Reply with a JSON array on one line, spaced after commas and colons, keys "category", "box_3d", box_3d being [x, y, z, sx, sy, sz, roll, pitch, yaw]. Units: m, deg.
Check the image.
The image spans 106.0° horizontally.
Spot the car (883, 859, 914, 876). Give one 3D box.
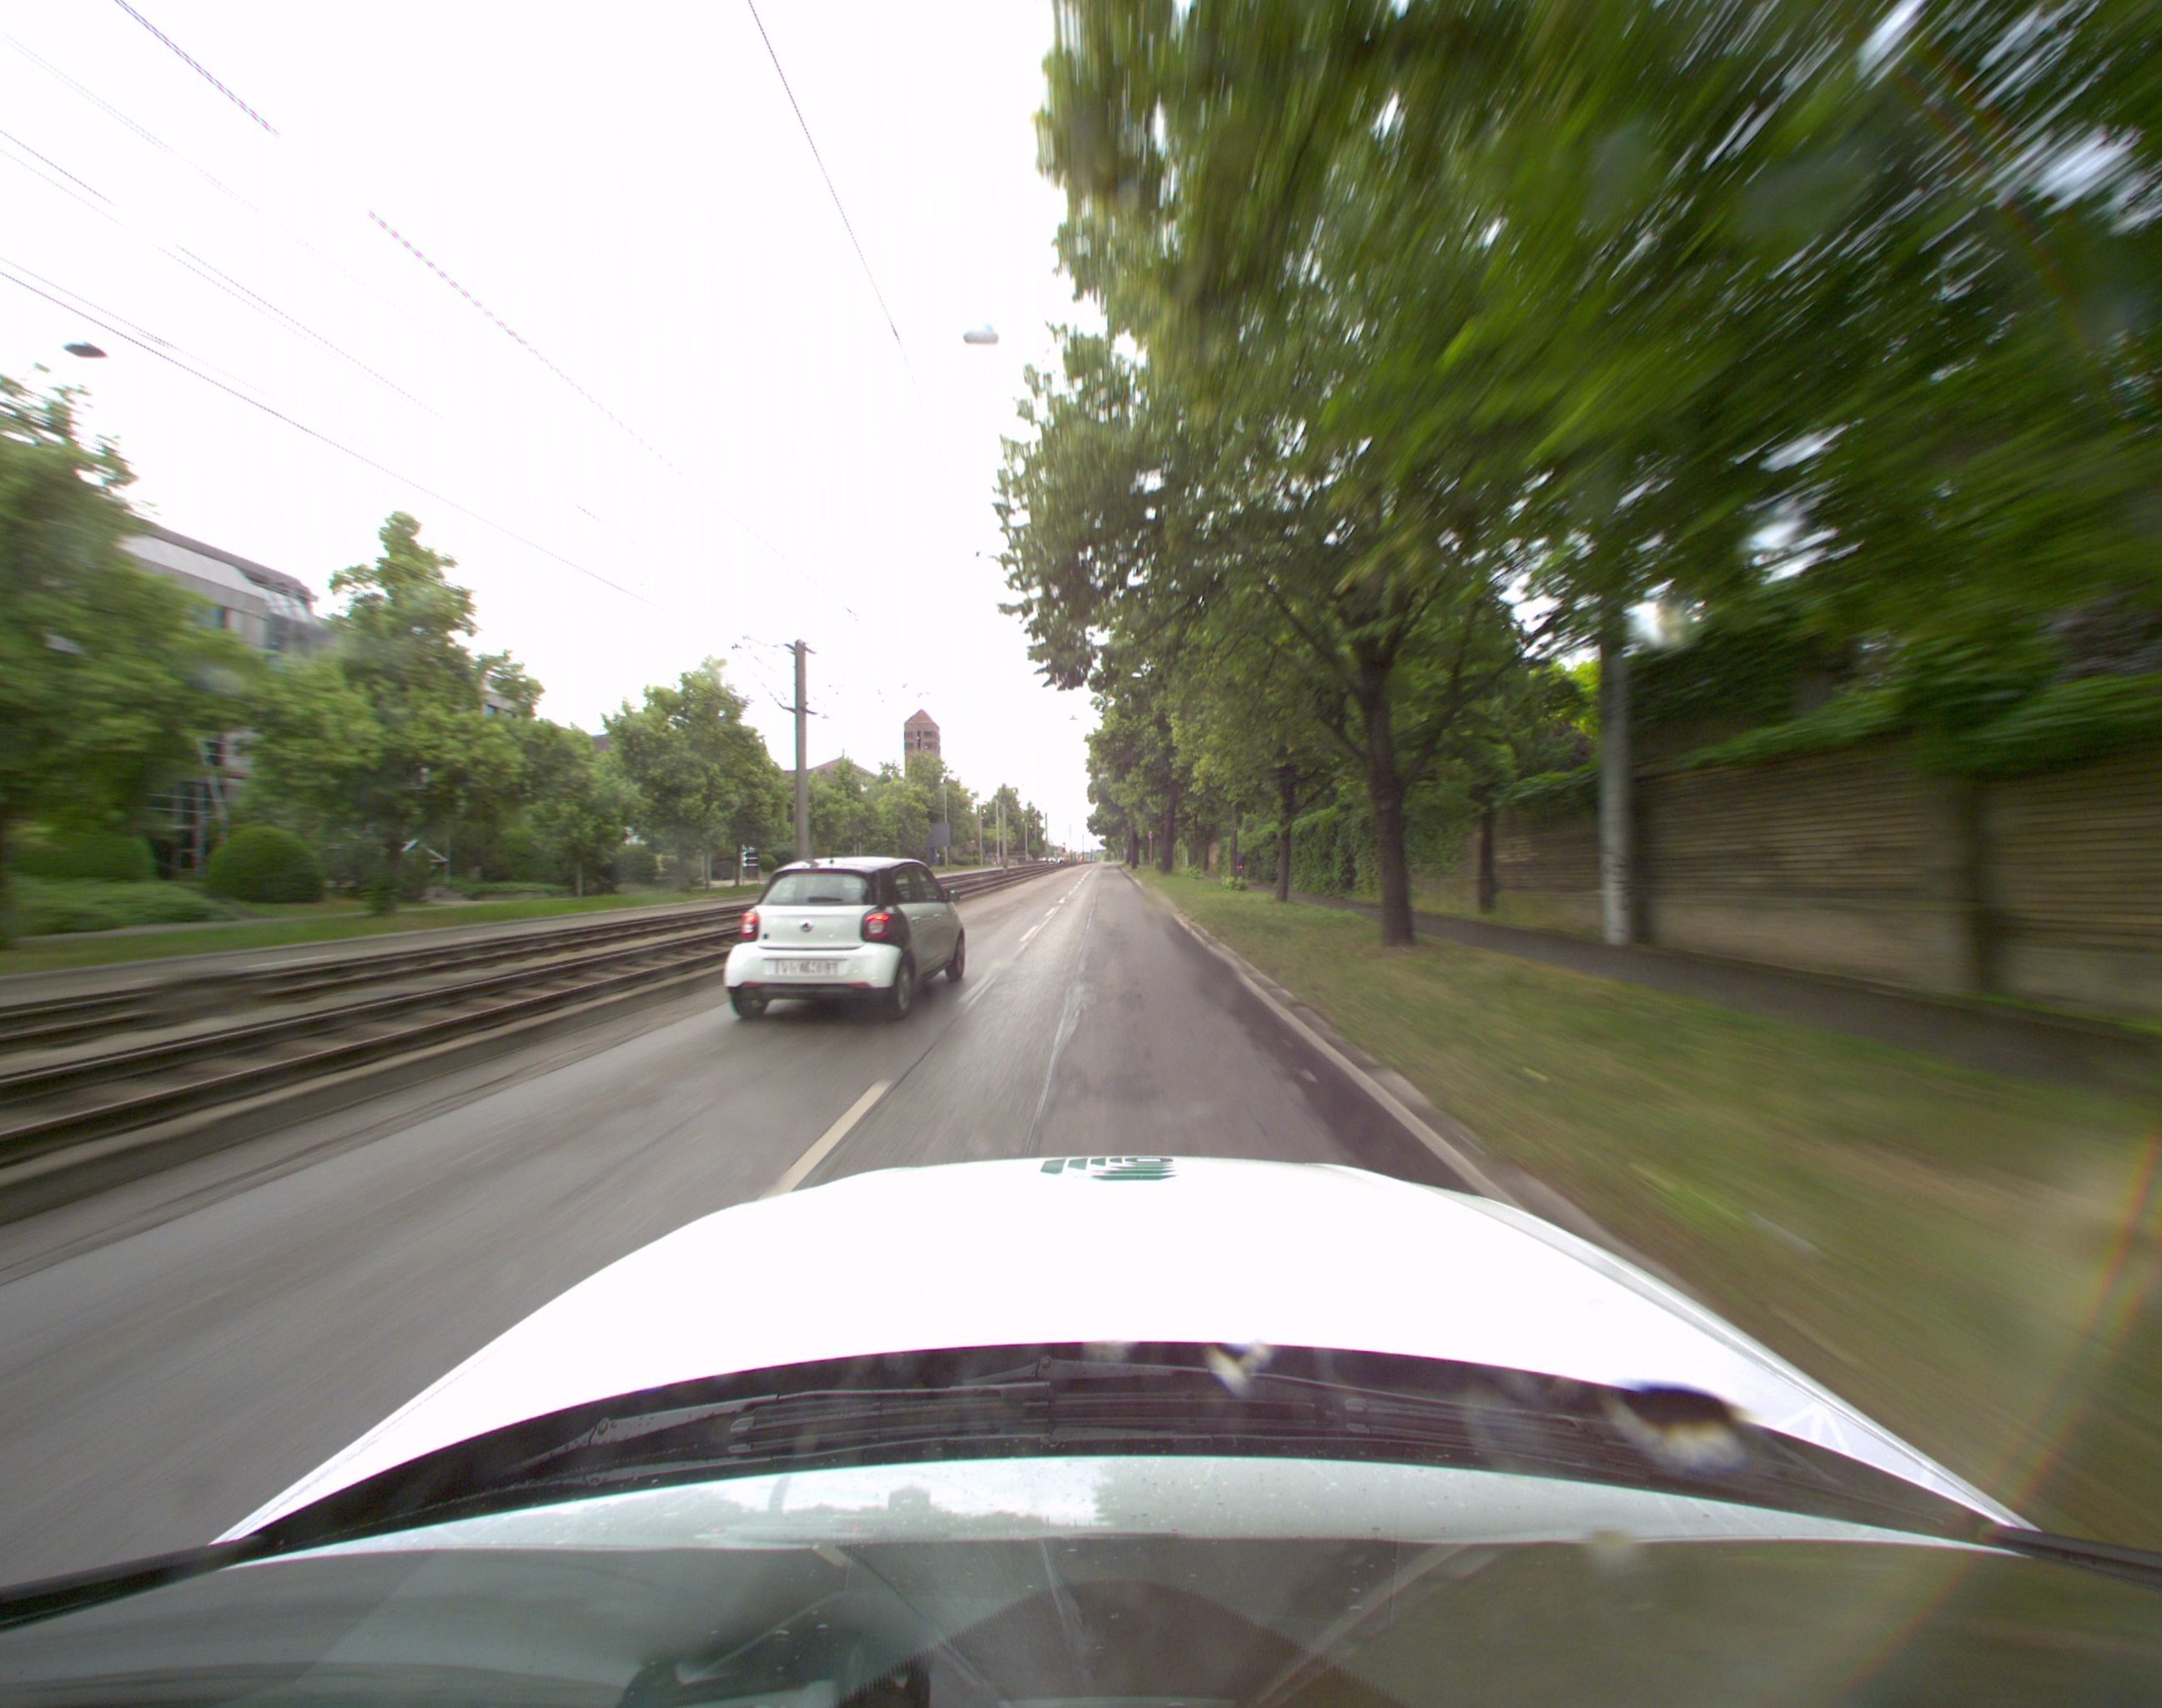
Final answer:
[{"category": "car", "box_3d": [-17.041, 1.249, 76.164, 1.788, 1.530, 4.622, -1, 0, 0]}]

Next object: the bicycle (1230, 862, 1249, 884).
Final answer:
[{"category": "bicycle", "box_3d": [7.284, 0.845, 37.511, 0.540, 0.948, 2.553, -1, 0, 5]}]

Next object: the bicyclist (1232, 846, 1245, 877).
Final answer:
[{"category": "bicyclist", "box_3d": [7.289, 0.340, 37.696, 0.532, 1.389, 0.667, -1, -1, 4]}]

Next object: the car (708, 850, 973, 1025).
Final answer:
[{"category": "car", "box_3d": [-2.395, 0.742, 9.121, 1.669, 1.531, 3.724, -1, 0, 3]}]

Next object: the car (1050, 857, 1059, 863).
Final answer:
[{"category": "car", "box_3d": [-7.388, 1.603, 229.564, 2.003, 1.656, 4.624, -1, 0, 6]}]
